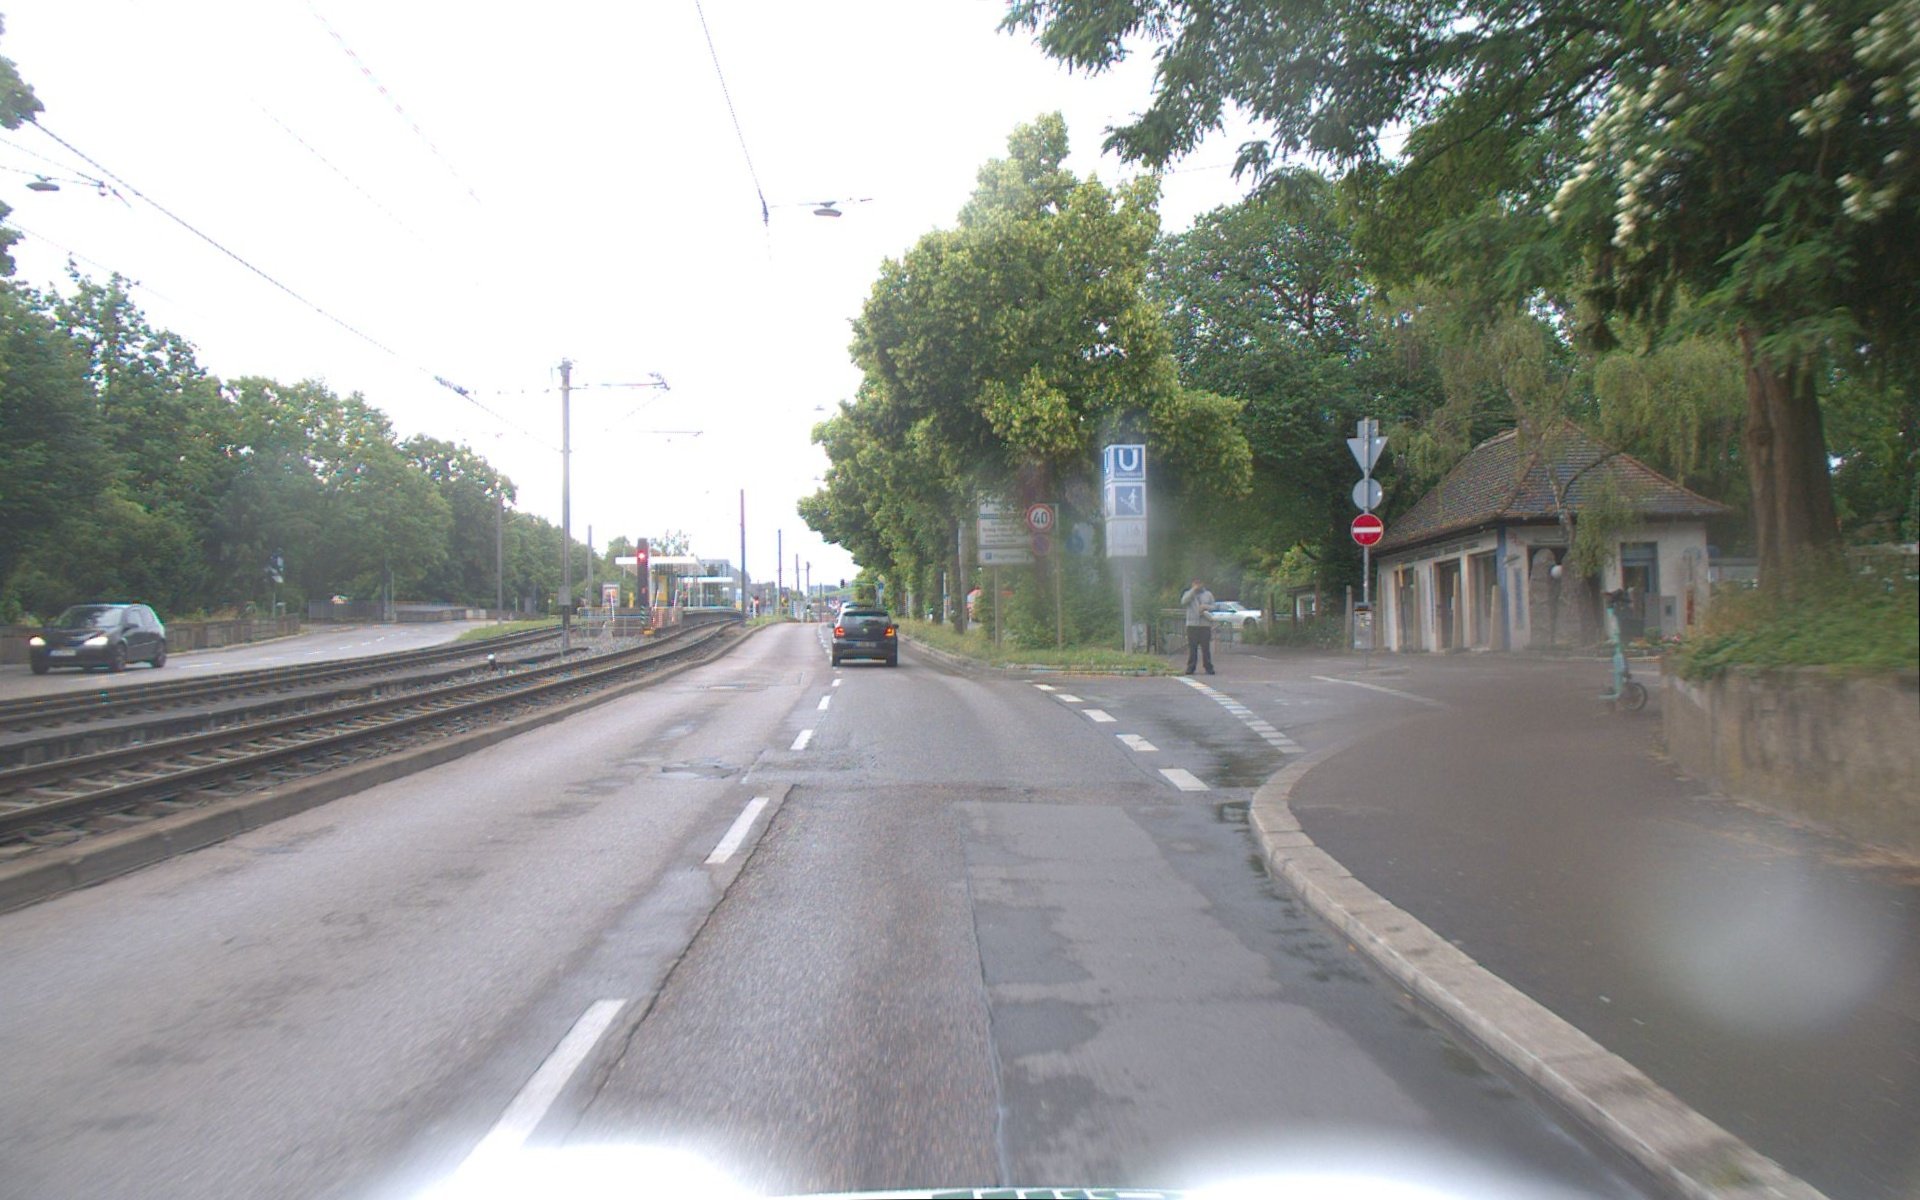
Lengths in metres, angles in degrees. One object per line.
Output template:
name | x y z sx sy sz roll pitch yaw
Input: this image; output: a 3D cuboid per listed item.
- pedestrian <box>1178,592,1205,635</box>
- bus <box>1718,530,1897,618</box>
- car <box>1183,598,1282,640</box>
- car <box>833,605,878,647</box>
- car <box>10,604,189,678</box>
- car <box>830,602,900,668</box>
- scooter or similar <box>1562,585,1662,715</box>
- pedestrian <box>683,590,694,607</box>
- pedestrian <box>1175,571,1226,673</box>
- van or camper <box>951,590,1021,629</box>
pedestrian | 11.131 0.659 79.606 0.949 2.049 0.942 1 -1 -28
bus | 28.350 -0.790 55.698 2.206 2.748 7.166 -1 0 -1
car | 13.161 0.905 80.054 1.932 1.866 4.394 2 0 -45
car | -4.019 0.961 63.342 1.654 1.544 3.996 0 0 -5
car | -18.781 0.876 36.334 1.927 1.466 4.317 -2 0 -5
car | -2.404 0.852 42.023 1.692 1.567 3.997 0 0 -3
scooter or similar | 6.715 0.503 17.079 0.503 1.252 1.315 -4 -1 4
pedestrian | -19.163 -0.100 116.656 0.696 1.247 0.619 0 -1 -4
pedestrian | 4.494 0.401 30.895 0.837 1.886 0.737 0 -1 -1
van or camper | 1.842 0.699 116.704 2.002 2.448 5.366 3 -1 38
